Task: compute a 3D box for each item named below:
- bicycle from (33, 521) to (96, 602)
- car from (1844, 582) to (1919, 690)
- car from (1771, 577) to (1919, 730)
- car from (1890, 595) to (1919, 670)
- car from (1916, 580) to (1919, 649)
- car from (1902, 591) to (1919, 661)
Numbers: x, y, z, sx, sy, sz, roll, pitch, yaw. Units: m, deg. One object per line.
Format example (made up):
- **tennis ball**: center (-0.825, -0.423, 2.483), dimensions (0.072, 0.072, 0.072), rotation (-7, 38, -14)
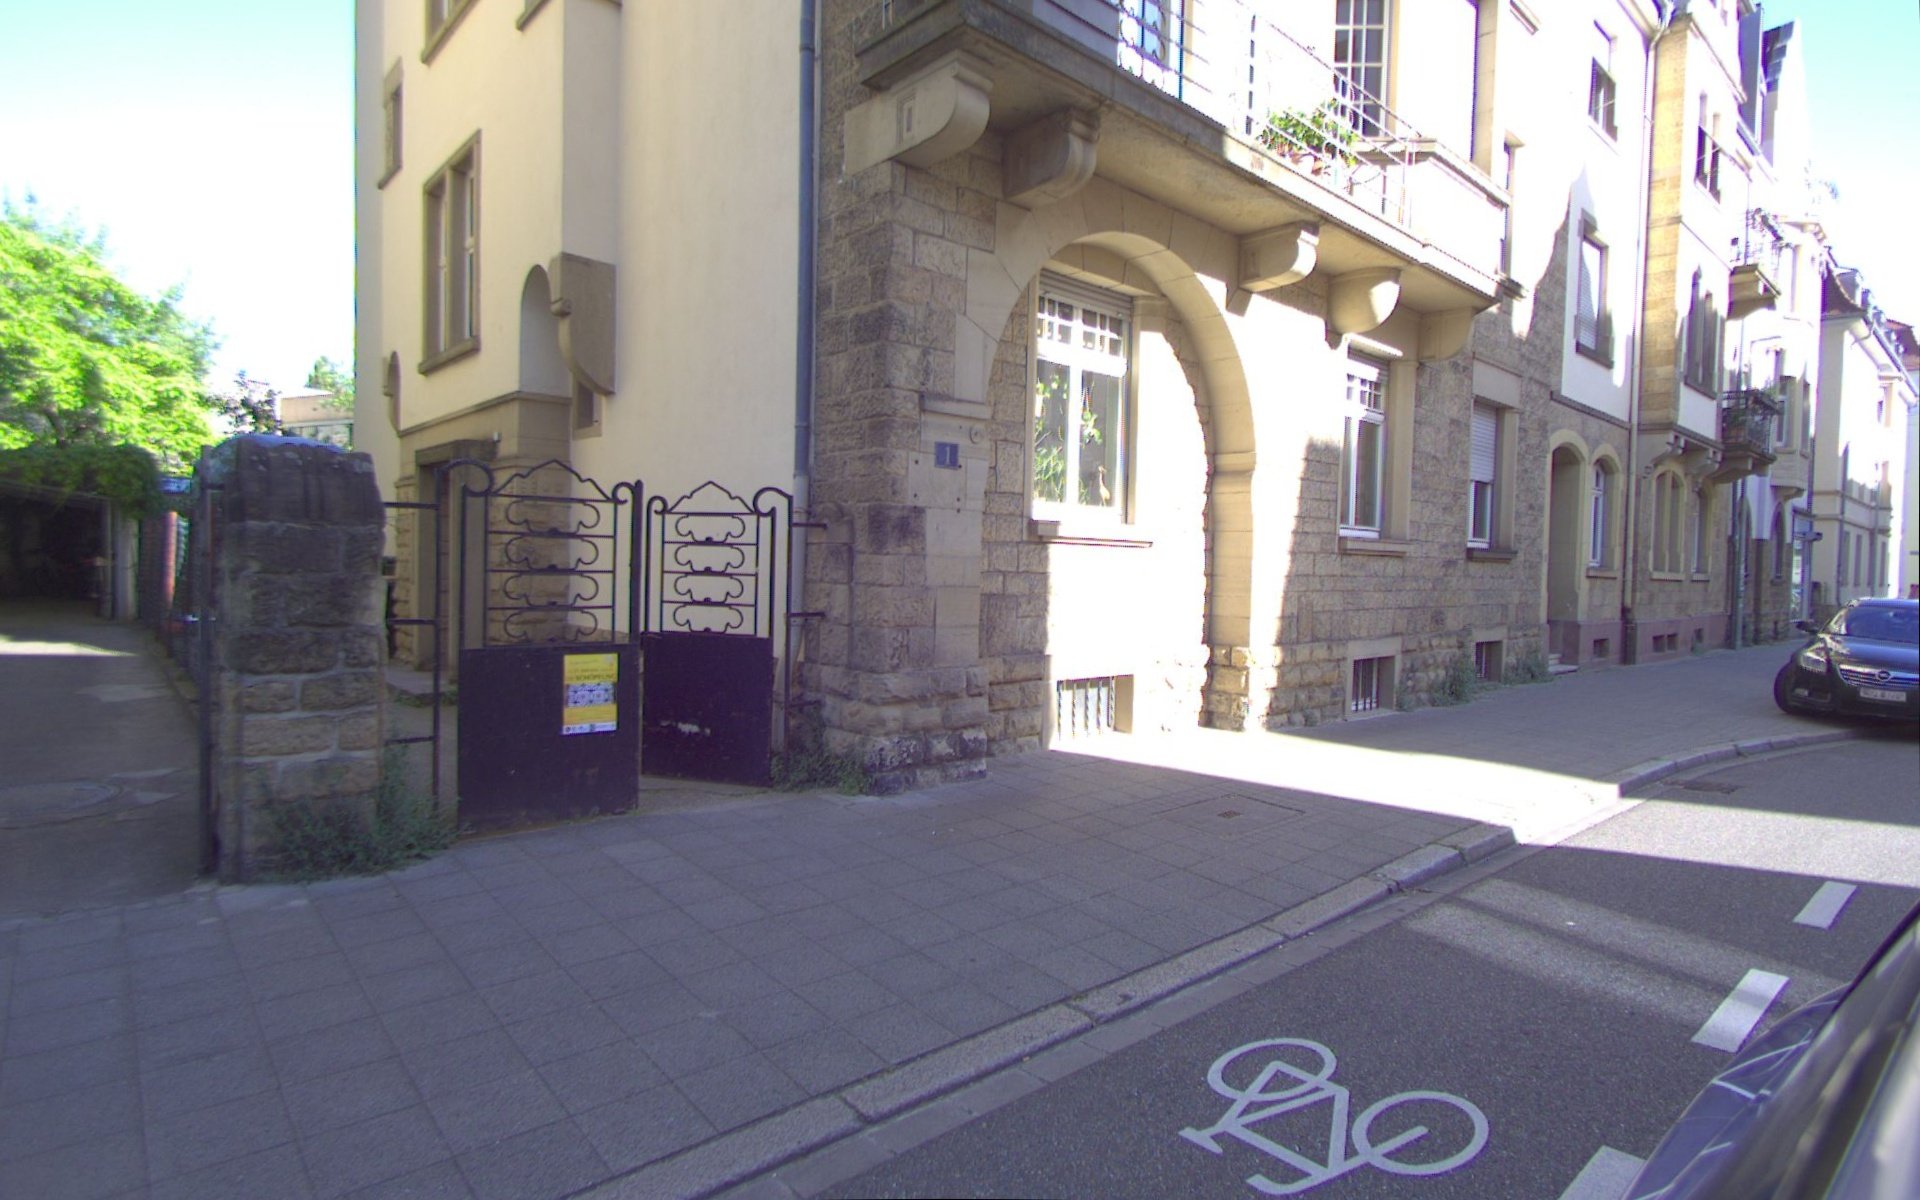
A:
- **bicycle**: center (-18.299, -0.815, 20.722), dimensions (0.903, 1.530, 2.672), rotation (0, 4, -41)
- **car**: center (15.534, 0.559, 15.863), dimensions (4.247, 1.527, 2.004), rotation (0, 3, -42)
- **car**: center (11.522, 0.563, 12.206), dimensions (4.043, 1.526, 2.023), rotation (-1, 5, -42)
- **car**: center (18.797, 0.612, 18.967), dimensions (3.667, 1.295, 1.659), rotation (-1, 4, -42)
- **car**: center (26.237, 0.327, 26.046), dimensions (4.247, 1.860, 2.004), rotation (-1, 4, -42)
- **car**: center (22.174, 0.574, 22.189), dimensions (4.247, 1.440, 1.823), rotation (-1, 4, -42)
